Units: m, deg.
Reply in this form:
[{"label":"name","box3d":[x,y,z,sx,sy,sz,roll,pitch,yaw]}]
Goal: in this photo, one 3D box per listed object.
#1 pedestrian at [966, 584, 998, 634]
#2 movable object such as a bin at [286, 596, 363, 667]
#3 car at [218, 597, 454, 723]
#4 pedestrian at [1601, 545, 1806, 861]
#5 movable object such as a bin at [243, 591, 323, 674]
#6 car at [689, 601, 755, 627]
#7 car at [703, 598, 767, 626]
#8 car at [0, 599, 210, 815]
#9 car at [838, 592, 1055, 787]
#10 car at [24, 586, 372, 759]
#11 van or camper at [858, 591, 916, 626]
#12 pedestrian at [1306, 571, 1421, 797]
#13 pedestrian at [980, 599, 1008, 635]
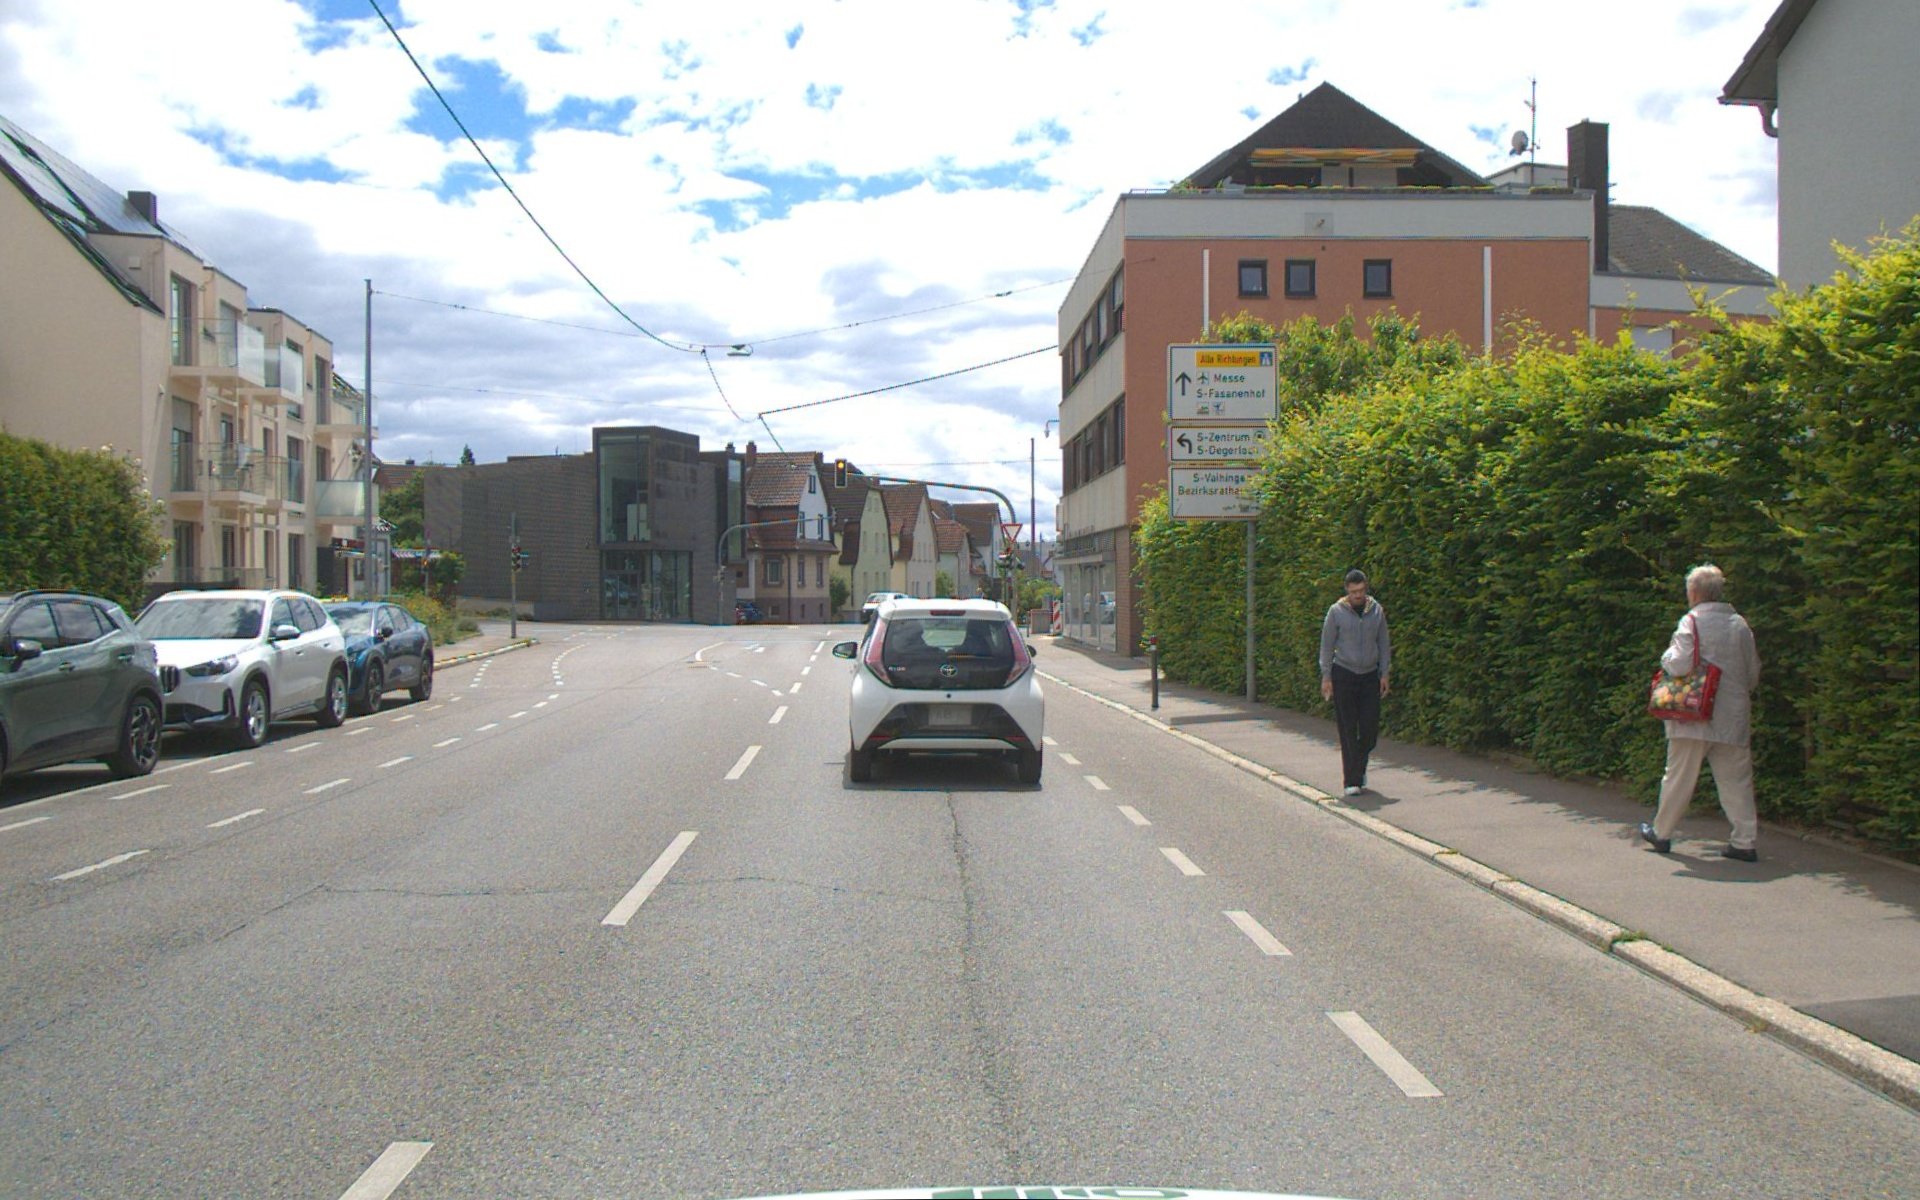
[{"label":"pedestrian","box3d":[0.784,0.329,58.567,0.814,1.751,0.809,0,0,-31]},{"label":"movable object such as a bin","box3d":[-12.337,0.596,32.154,1.043,1.336,1.214,0,0,-1]},{"label":"car","box3d":[-8.796,0.772,23.755,1.954,1.615,4.485,0,0,-4]},{"label":"pedestrian","box3d":[4.064,0.542,9.081,0.782,1.645,0.653,-2,0,-2]},{"label":"movable object such as a bin","box3d":[-12.623,0.597,30.890,1.044,1.508,1.213,0,0,-5]},{"label":"car","box3d":[-14.247,0.817,99.195,3.537,1.444,1.693,2,0,9]},{"label":"car","box3d":[-13.777,0.743,101.344,3.537,1.633,1.693,2,0,9]},{"label":"car","box3d":[-8.105,0.801,13.402,1.953,1.591,4.689,0,0,-1]},{"label":"car","box3d":[-0.142,0.707,14.569,1.663,1.482,3.298,1,0,-2]},{"label":"car","box3d":[-8.303,0.705,18.548,1.954,1.679,4.515,0,0,-3]},{"label":"van or camper","box3d":[-4.199,0.500,96.659,2.070,1.959,5.289,1,0,12]},{"label":"pedestrian","box3d":[3.035,0.612,12.498,0.590,1.633,0.836,-2,0,-1]},{"label":"pedestrian","box3d":[1.190,0.600,57.967,0.726,1.243,0.639,0,0,-32]}]
